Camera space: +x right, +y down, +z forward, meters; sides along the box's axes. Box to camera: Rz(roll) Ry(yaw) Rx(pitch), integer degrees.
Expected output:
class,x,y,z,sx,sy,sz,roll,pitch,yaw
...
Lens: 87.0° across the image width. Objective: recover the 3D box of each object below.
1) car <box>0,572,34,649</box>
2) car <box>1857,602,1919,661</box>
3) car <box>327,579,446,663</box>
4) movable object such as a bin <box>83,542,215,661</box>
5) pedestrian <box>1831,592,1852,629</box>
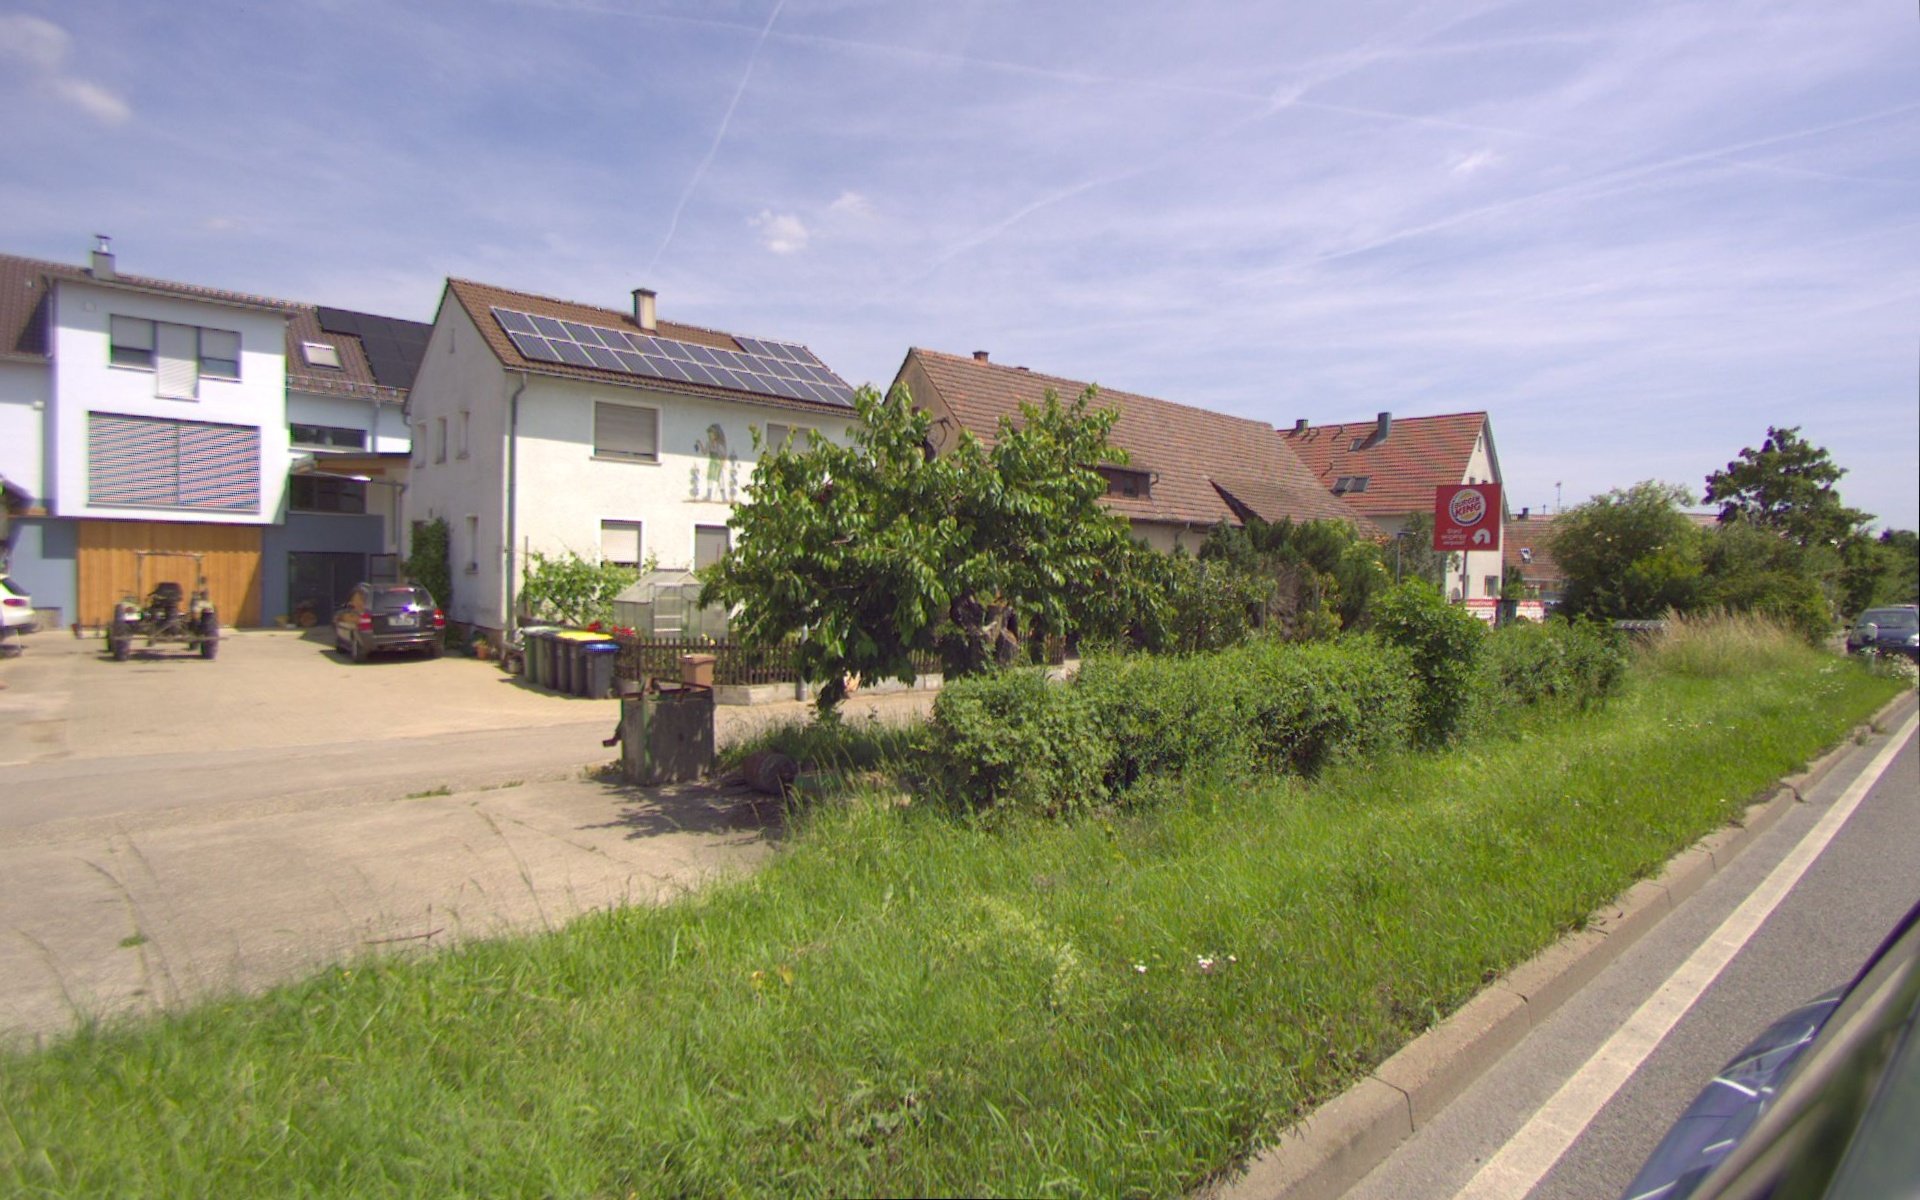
class,x,y,z,sx,sy,sz,roll,pitch,yaw
car,-22.124,0.238,21.217,3.931,1.638,1.757,-1,2,-41
car,25.894,0.821,27.731,3.493,1.504,1.632,0,-2,-44
car,-13.438,0.403,23.608,1.811,1.714,3.958,-1,3,-39
movable object such as a bin,-17.676,-0.020,22.146,2.041,2.372,3.719,2,1,-38
pedestrian,37.262,0.442,42.781,0.517,1.568,0.557,1,1,29
